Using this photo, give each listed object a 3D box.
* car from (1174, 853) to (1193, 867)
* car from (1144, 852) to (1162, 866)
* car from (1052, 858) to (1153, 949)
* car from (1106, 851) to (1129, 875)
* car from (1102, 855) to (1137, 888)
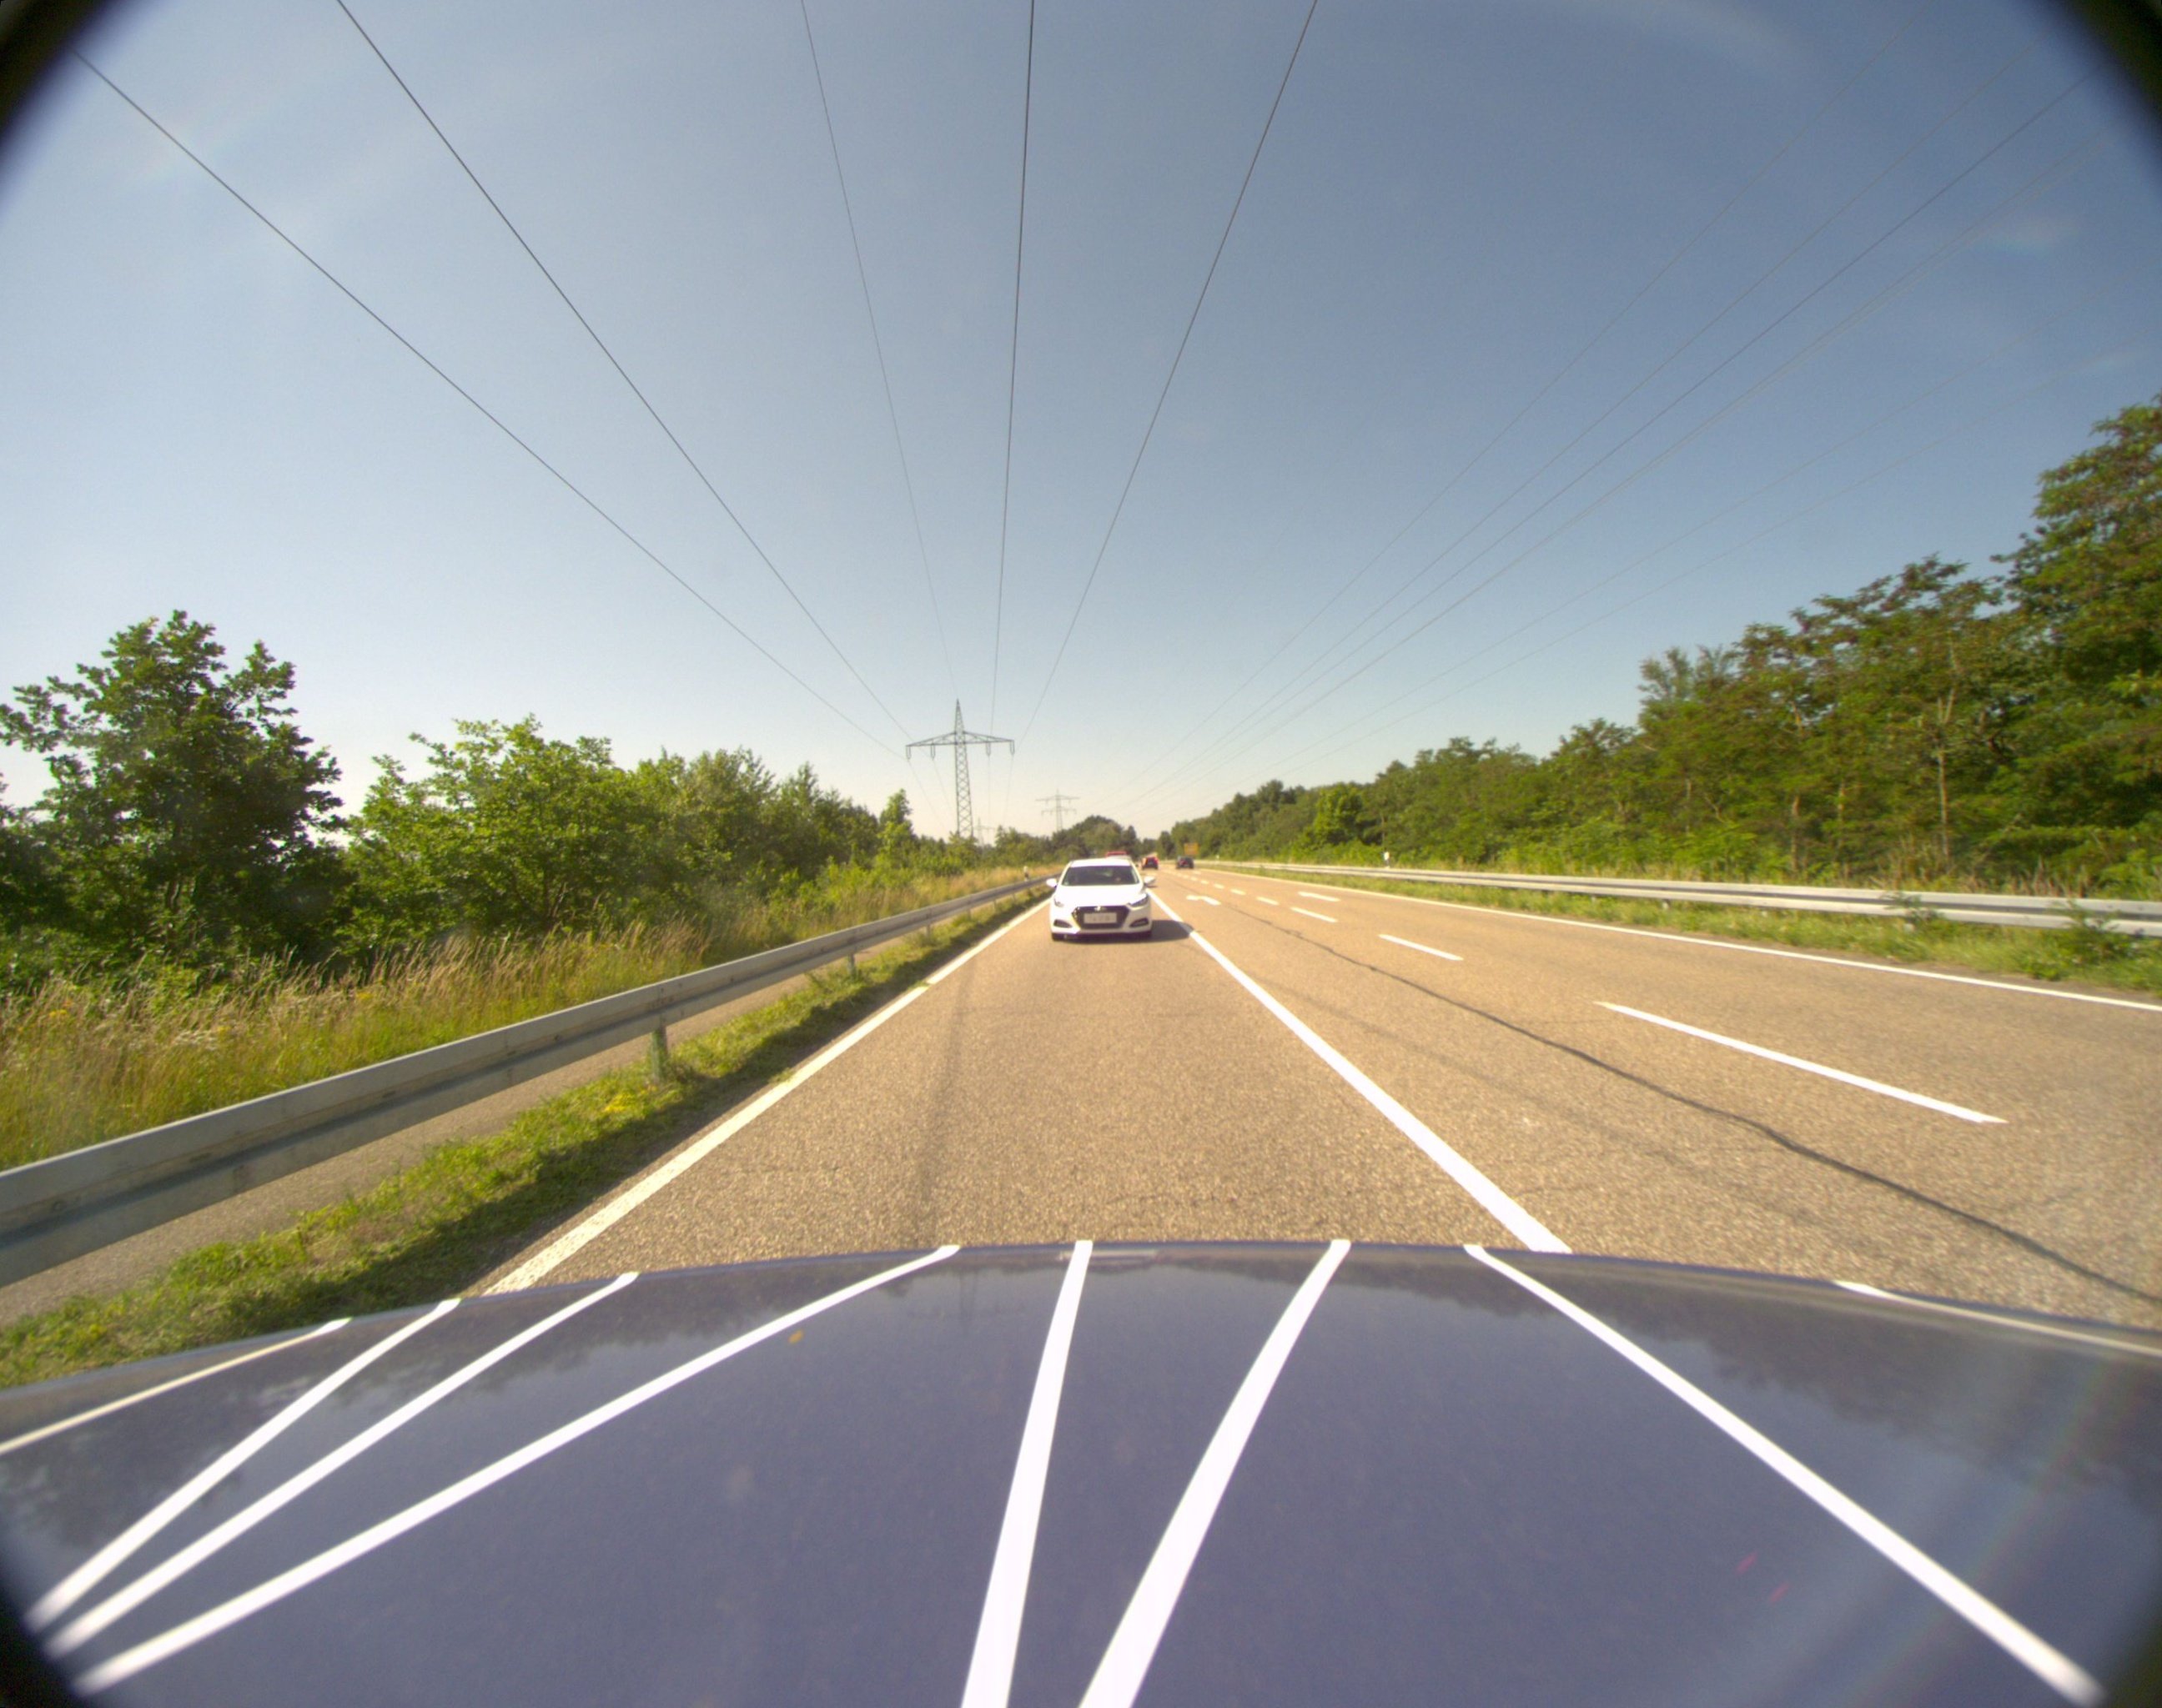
[{"bbox_3d":[11.239,0.635,83.300,1.663,1.433,4.169,-2,0,2],"label":"car"},{"bbox_3d":[8.264,0.528,87.956,1.731,1.482,4.423,-2,0,1],"label":"car"},{"bbox_3d":[0.454,0.857,15.149,1.683,1.471,4.474,-1,0,2],"label":"car"},{"bbox_3d":[3.120,0.767,65.601,1.794,1.892,4.838,-2,0,2],"label":"car"},{"bbox_3d":[1.826,0.804,36.568,1.549,1.460,3.661,-2,0,2],"label":"car"}]
